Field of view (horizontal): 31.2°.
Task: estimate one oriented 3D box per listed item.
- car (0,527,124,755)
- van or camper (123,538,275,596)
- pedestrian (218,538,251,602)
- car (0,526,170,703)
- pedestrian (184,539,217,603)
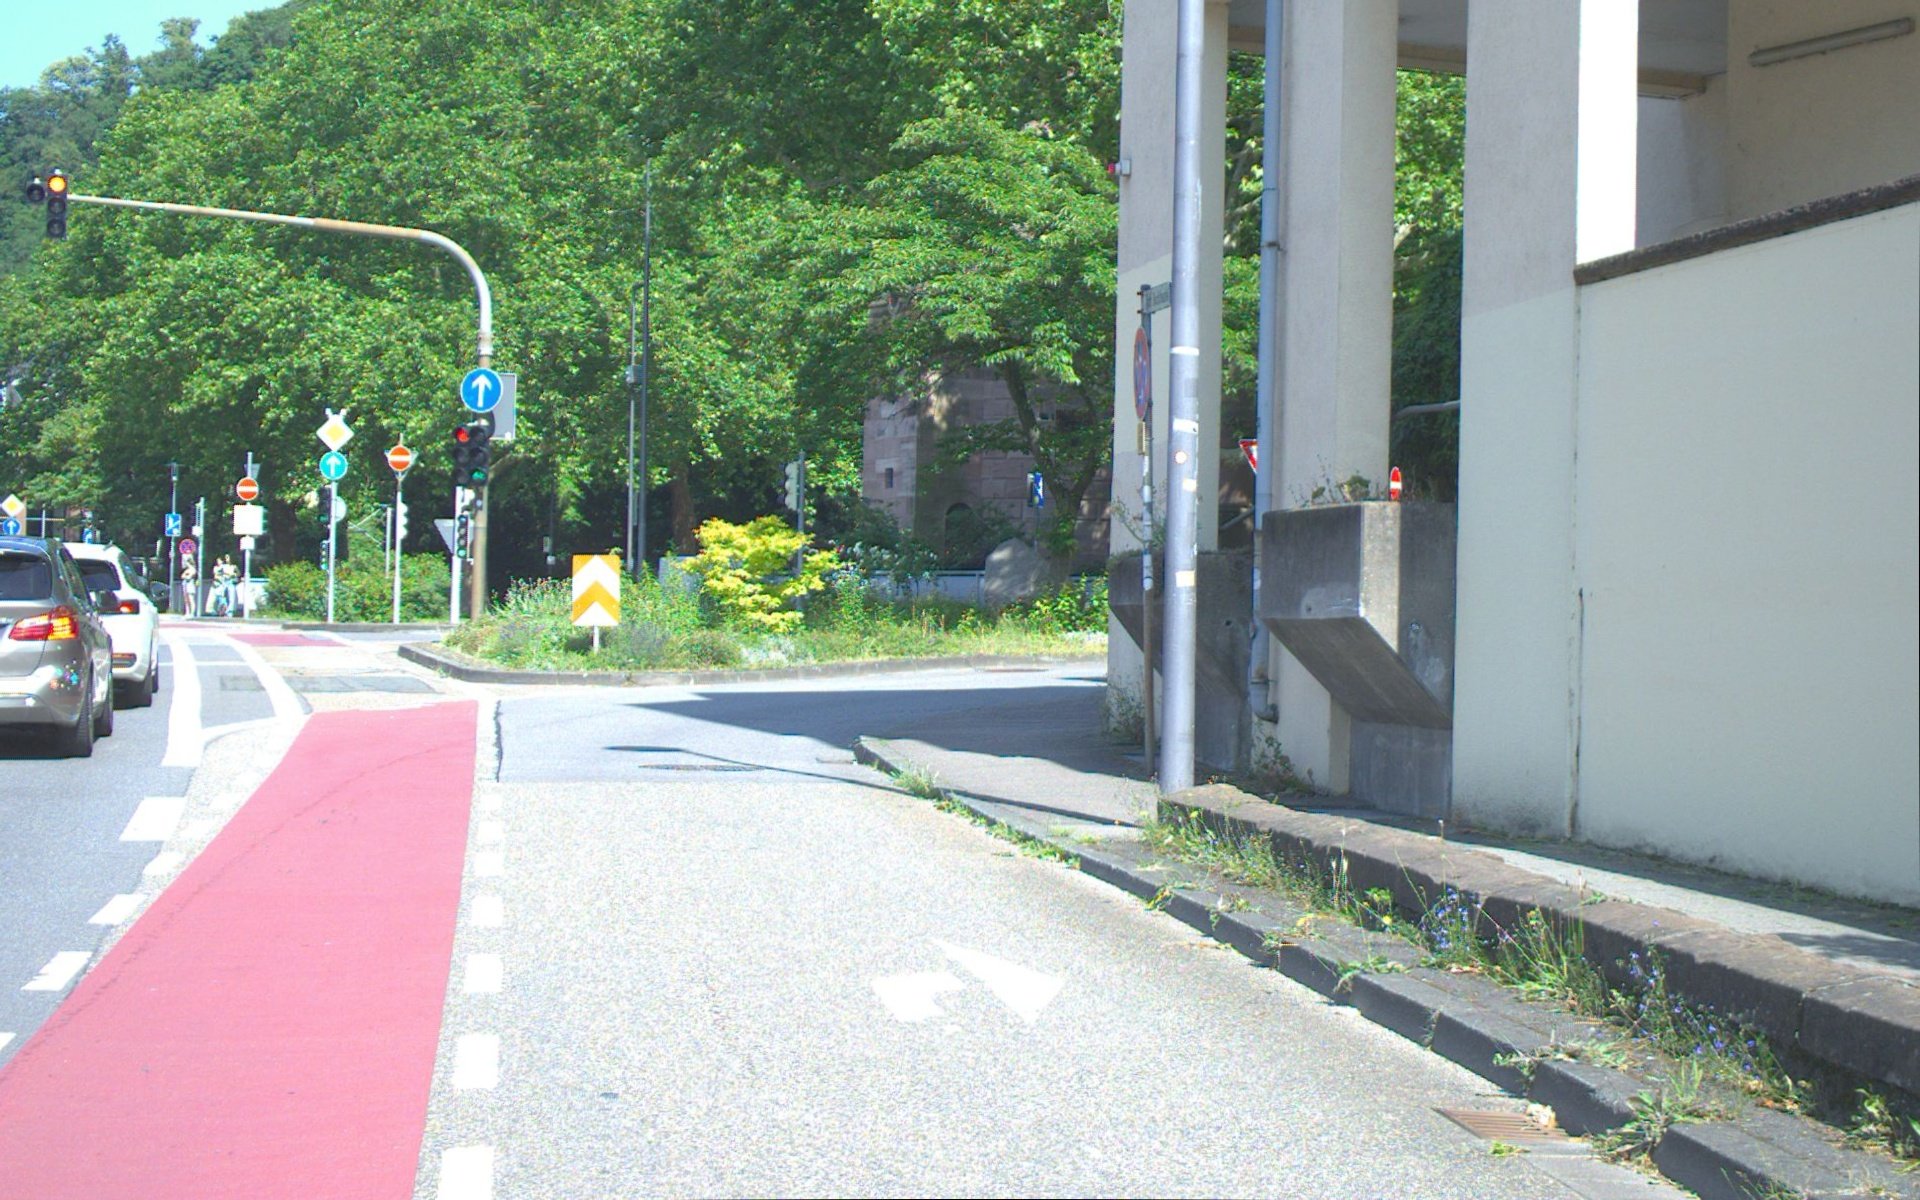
[{"bbox_3d":[-7.179,0.237,24.939,1.888,1.516,4.307,1,1,-10],"label":"car"},{"bbox_3d":[-25.271,-1.106,114.226,4.543,1.895,2.000,0,1,6],"label":"van or camper"},{"bbox_3d":[-19.582,-0.815,92.837,0.761,1.703,0.878,0,1,-4],"label":"pedestrian"},{"bbox_3d":[-8.528,0.074,32.320,1.993,1.528,4.860,0,1,-11],"label":"car"},{"bbox_3d":[-20.501,-0.786,92.780,0.761,1.713,0.795,0,1,-4],"label":"pedestrian"}]
